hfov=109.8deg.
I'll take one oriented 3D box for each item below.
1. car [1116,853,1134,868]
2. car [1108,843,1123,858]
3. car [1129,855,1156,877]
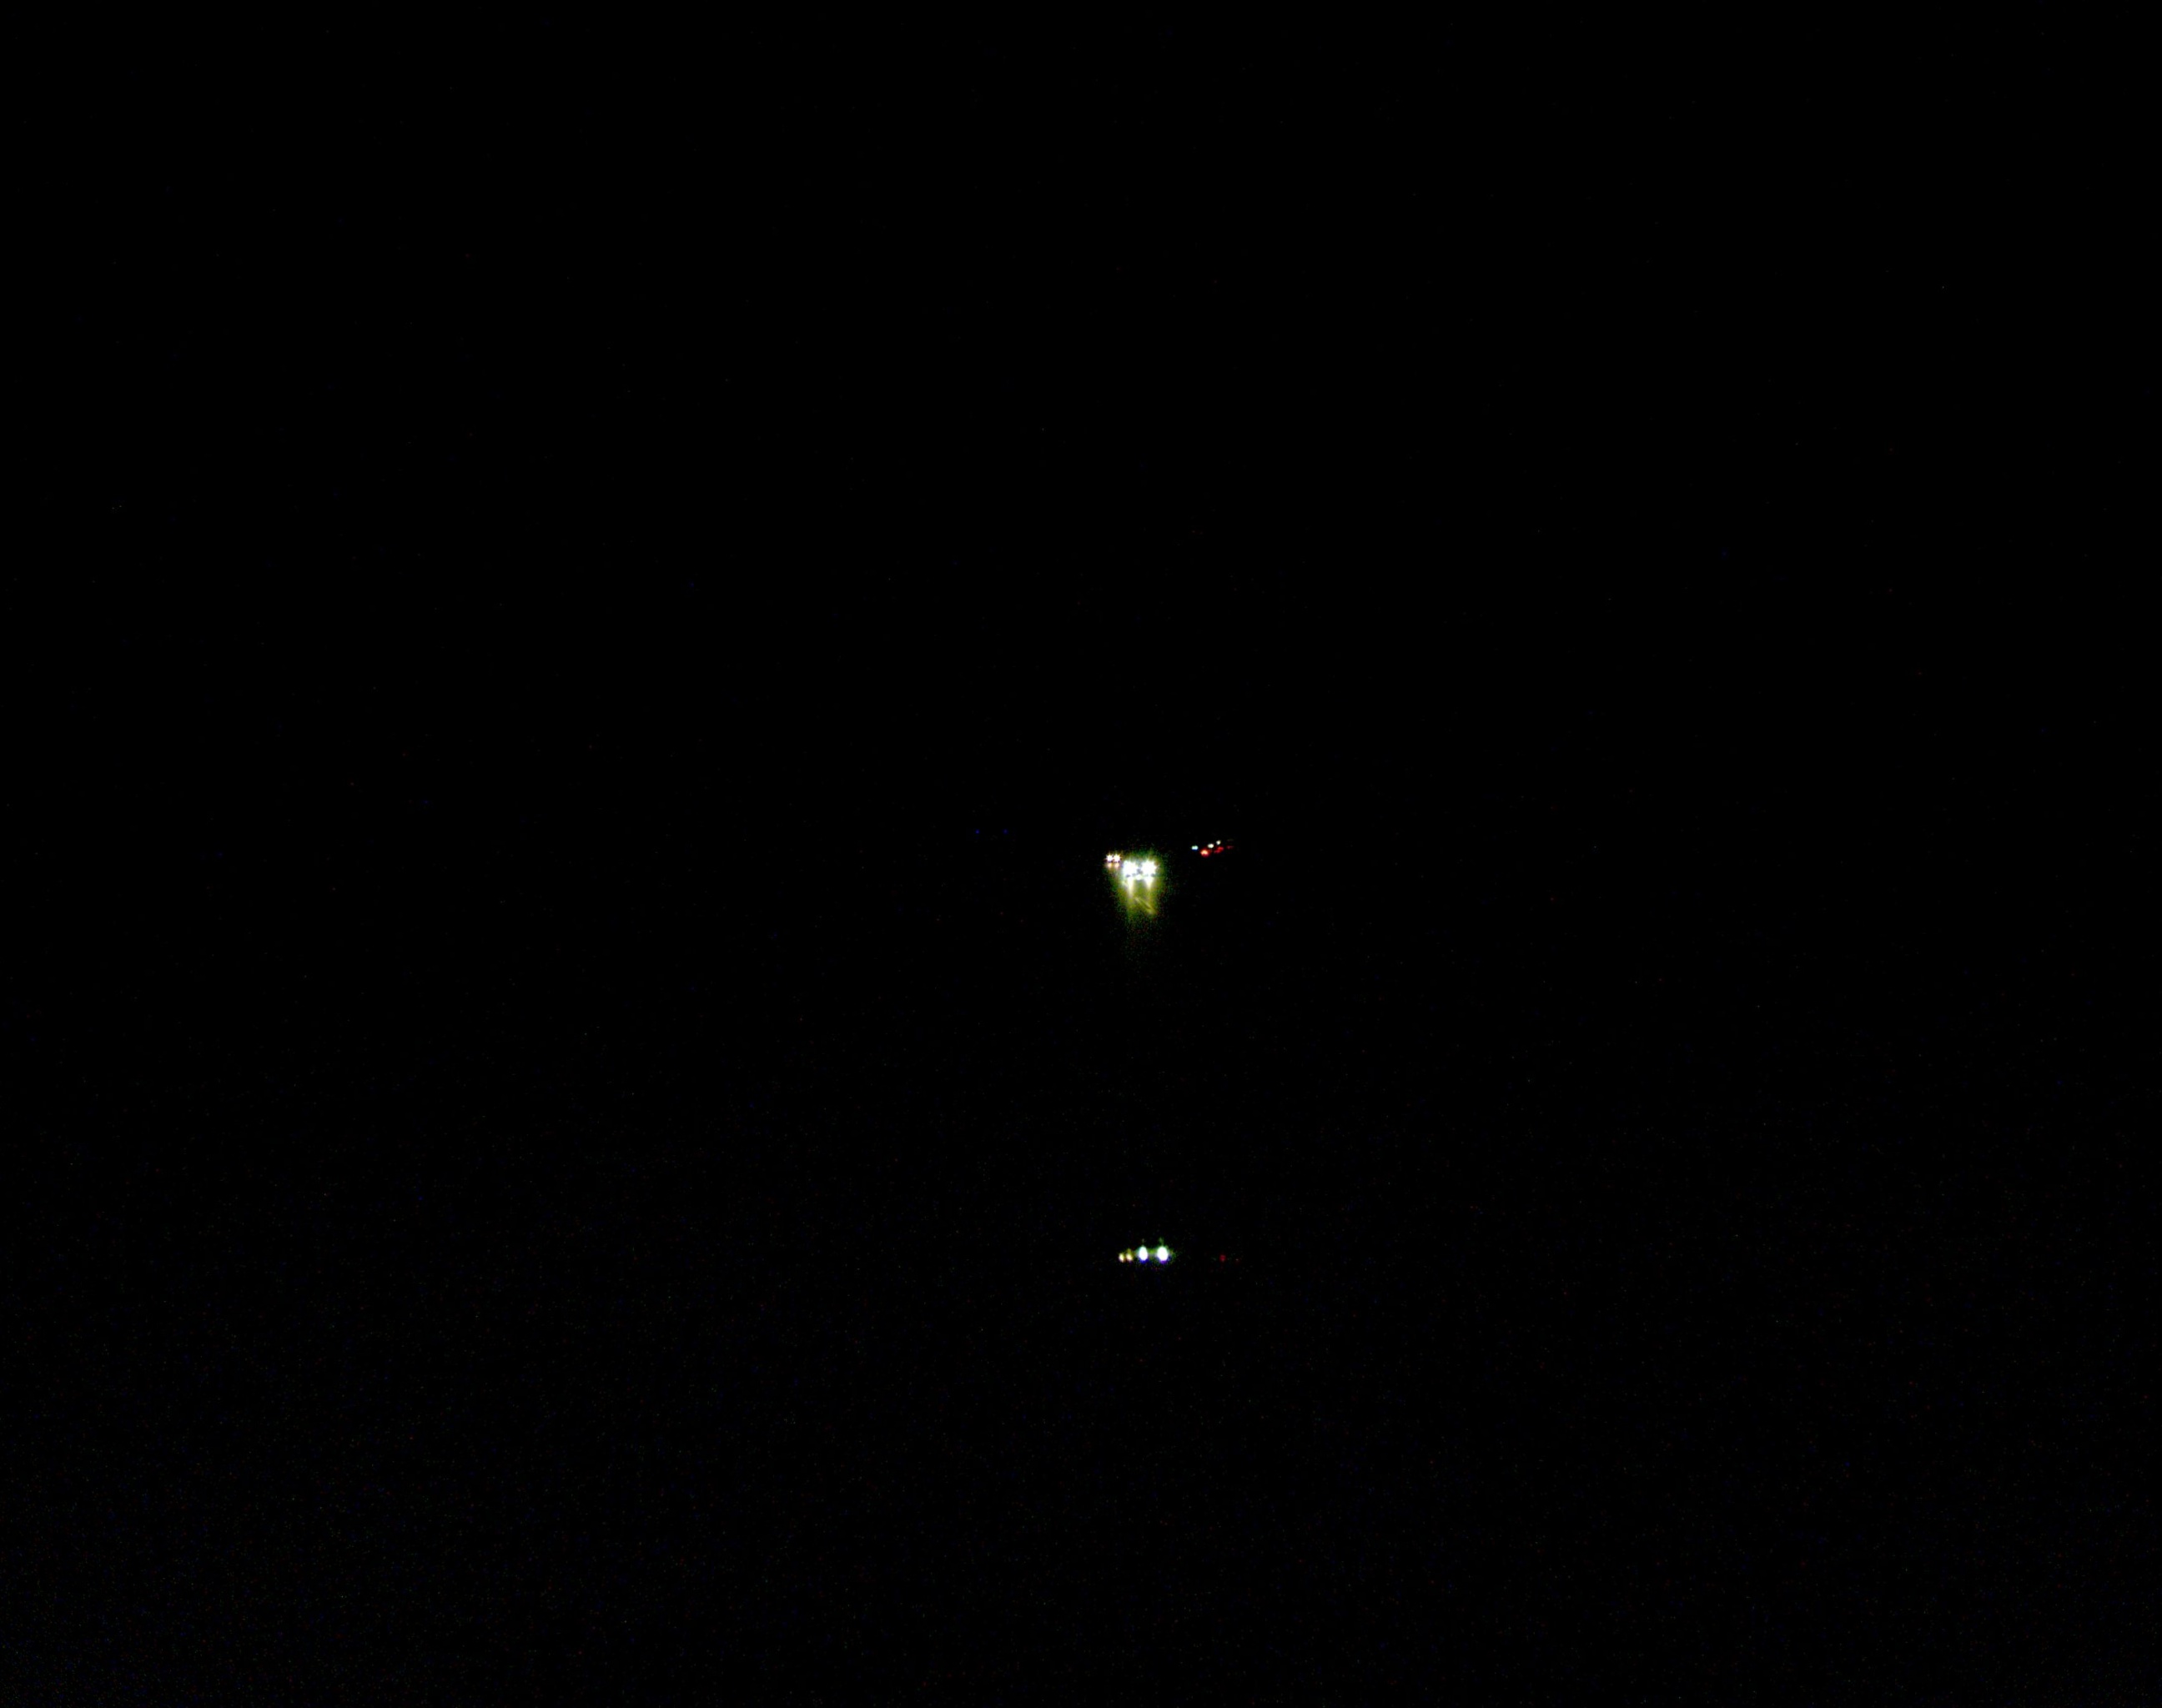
[{"bbox_3d":[5.223,0.754,89.295,1.998,1.456,4.000,-2,2,4],"label":"car"},{"bbox_3d":[7.418,-0.720,162.353,2.532,2.889,6.229,-2,2,8],"label":"car"},{"bbox_3d":[4.404,0.829,54.688,1.832,1.404,4.001,-2,0,4],"label":"car"}]
